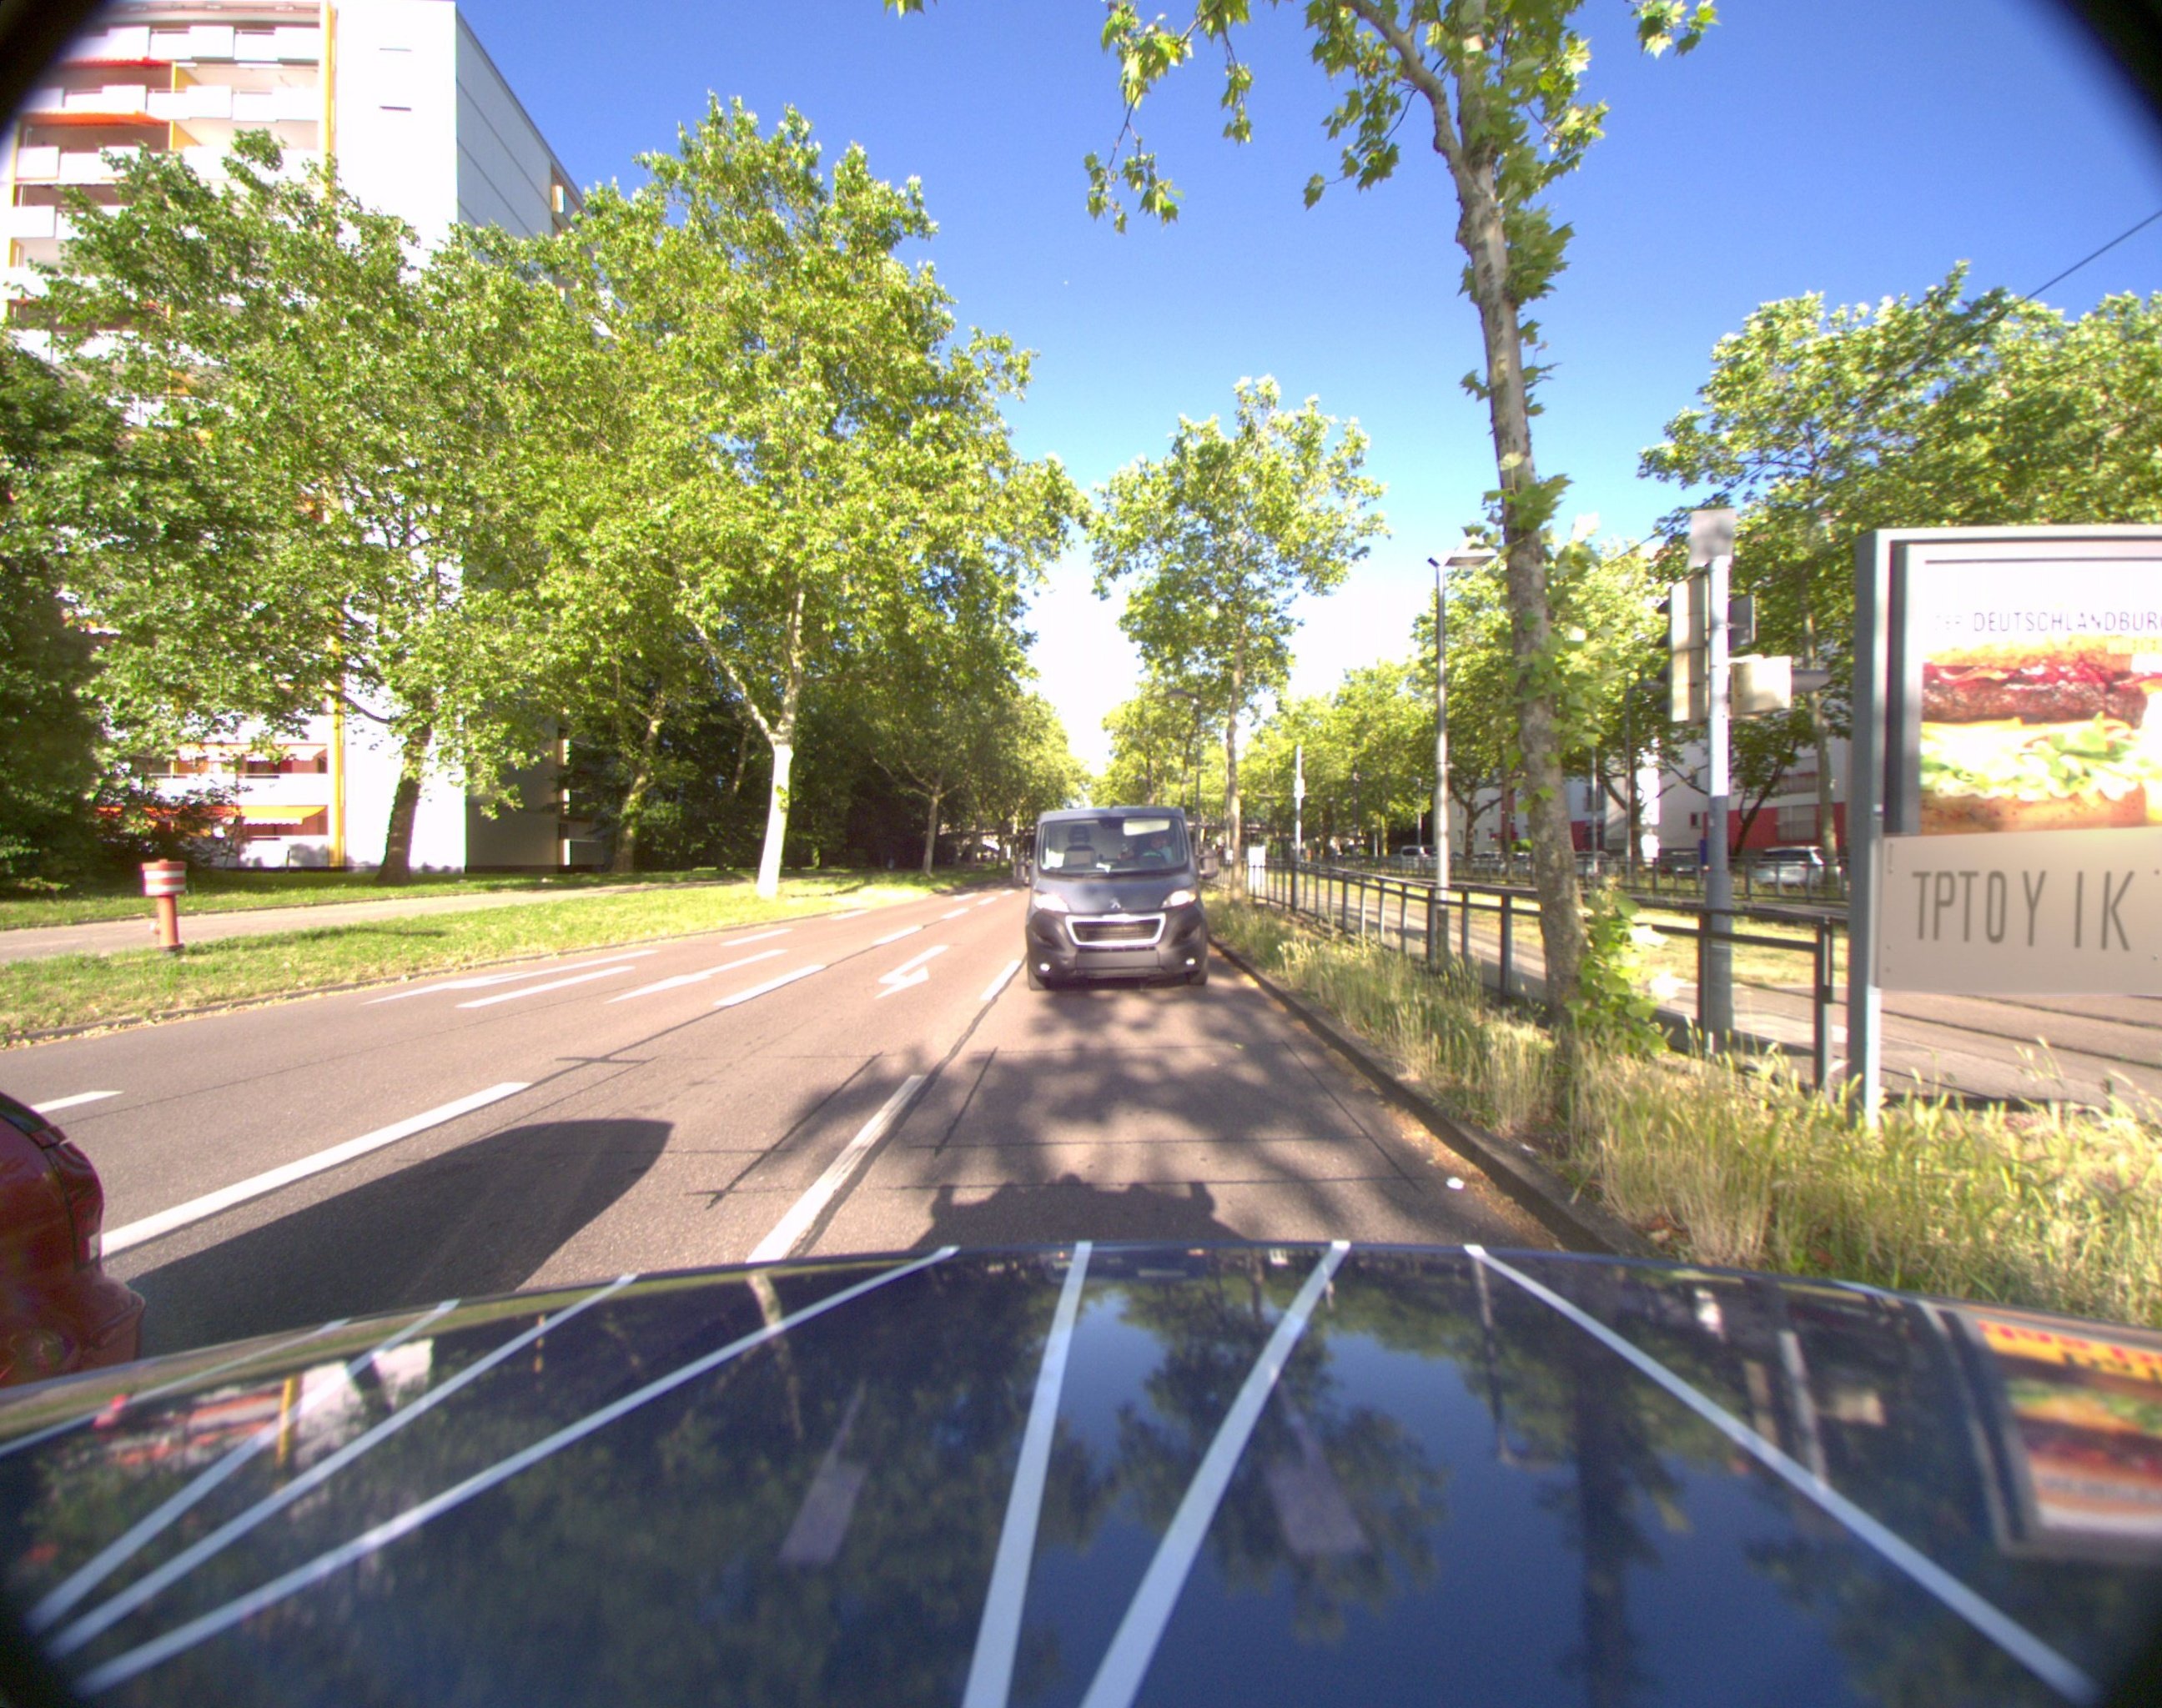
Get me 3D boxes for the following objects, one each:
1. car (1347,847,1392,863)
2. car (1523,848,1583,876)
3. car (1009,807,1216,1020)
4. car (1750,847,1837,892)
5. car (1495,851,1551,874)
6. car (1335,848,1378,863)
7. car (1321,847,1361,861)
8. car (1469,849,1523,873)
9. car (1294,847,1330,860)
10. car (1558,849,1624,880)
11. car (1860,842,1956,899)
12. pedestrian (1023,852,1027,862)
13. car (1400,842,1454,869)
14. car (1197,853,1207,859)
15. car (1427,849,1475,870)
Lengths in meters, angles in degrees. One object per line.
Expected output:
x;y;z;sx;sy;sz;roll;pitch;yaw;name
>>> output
26.689;0.078;70.313;4.376;1.367;1.919;-1;1;-39;car
25.808;0.428;41.508;3.689;1.440;1.645;-1;1;-39;car
0.356;0.582;10.232;2.040;2.102;5.113;-2;0;1;car
25.052;0.493;26.676;3.689;1.425;1.683;-1;1;-38;car
26.197;0.480;44.950;3.689;1.234;1.645;-1;1;-39;car
26.586;0.098;73.268;4.376;1.367;1.919;-1;1;-39;car
27.241;0.023;79.565;4.376;1.367;1.919;-1;1;-39;car
25.954;0.414;47.485;3.689;1.440;1.645;-1;1;-39;car
27.200;-0.061;89.418;4.376;1.367;1.919;-1;1;-39;car
25.327;0.500;37.680;3.689;1.384;1.645;-1;1;-38;car
25.014;0.460;22.950;3.689;1.558;1.683;-1;1;-38;car
-7.896;0.424;107.403;0.417;1.454;0.398;-1;1;-7;pedestrian
25.958;0.084;56.982;4.376;1.873;1.919;-1;1;-39;car
25.894;0.459;163.171;1.672;1.351;3.295;-1;0;1;car
26.243;0.346;53.888;3.689;1.388;1.645;-1;1;-39;car
